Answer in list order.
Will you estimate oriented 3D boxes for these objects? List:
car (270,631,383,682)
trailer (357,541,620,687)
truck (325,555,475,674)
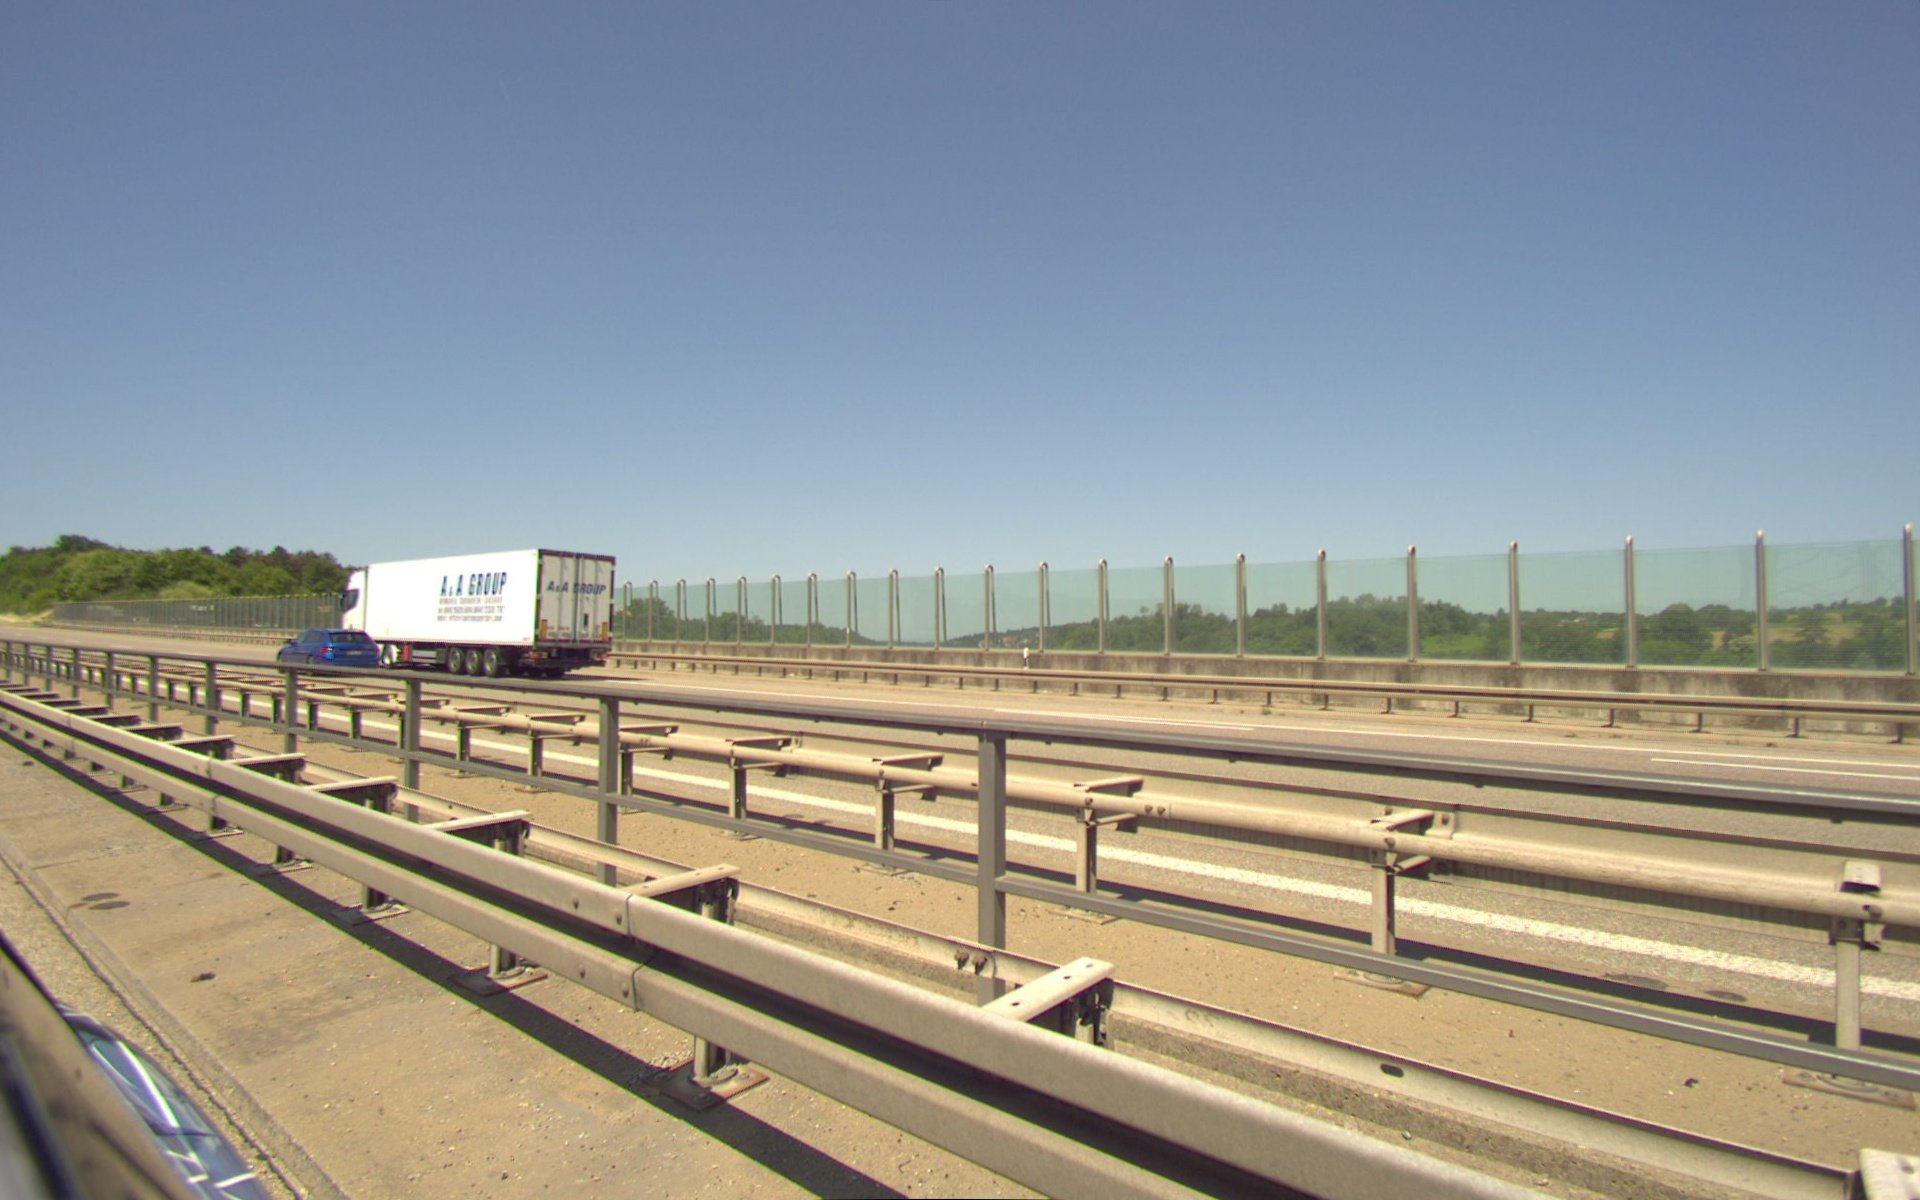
[{"bbox_3d":[-20.039,1.731,31.943,4.602,1.503,1.754,-1,-3,41],"label":"car"},{"bbox_3d":[-17.047,0.518,35.685,13.651,4.340,2.876,-1,-3,40],"label":"trailer"},{"bbox_3d":[-22.358,0.630,40.249,6.855,4.326,2.898,-1,-4,42],"label":"truck"}]
